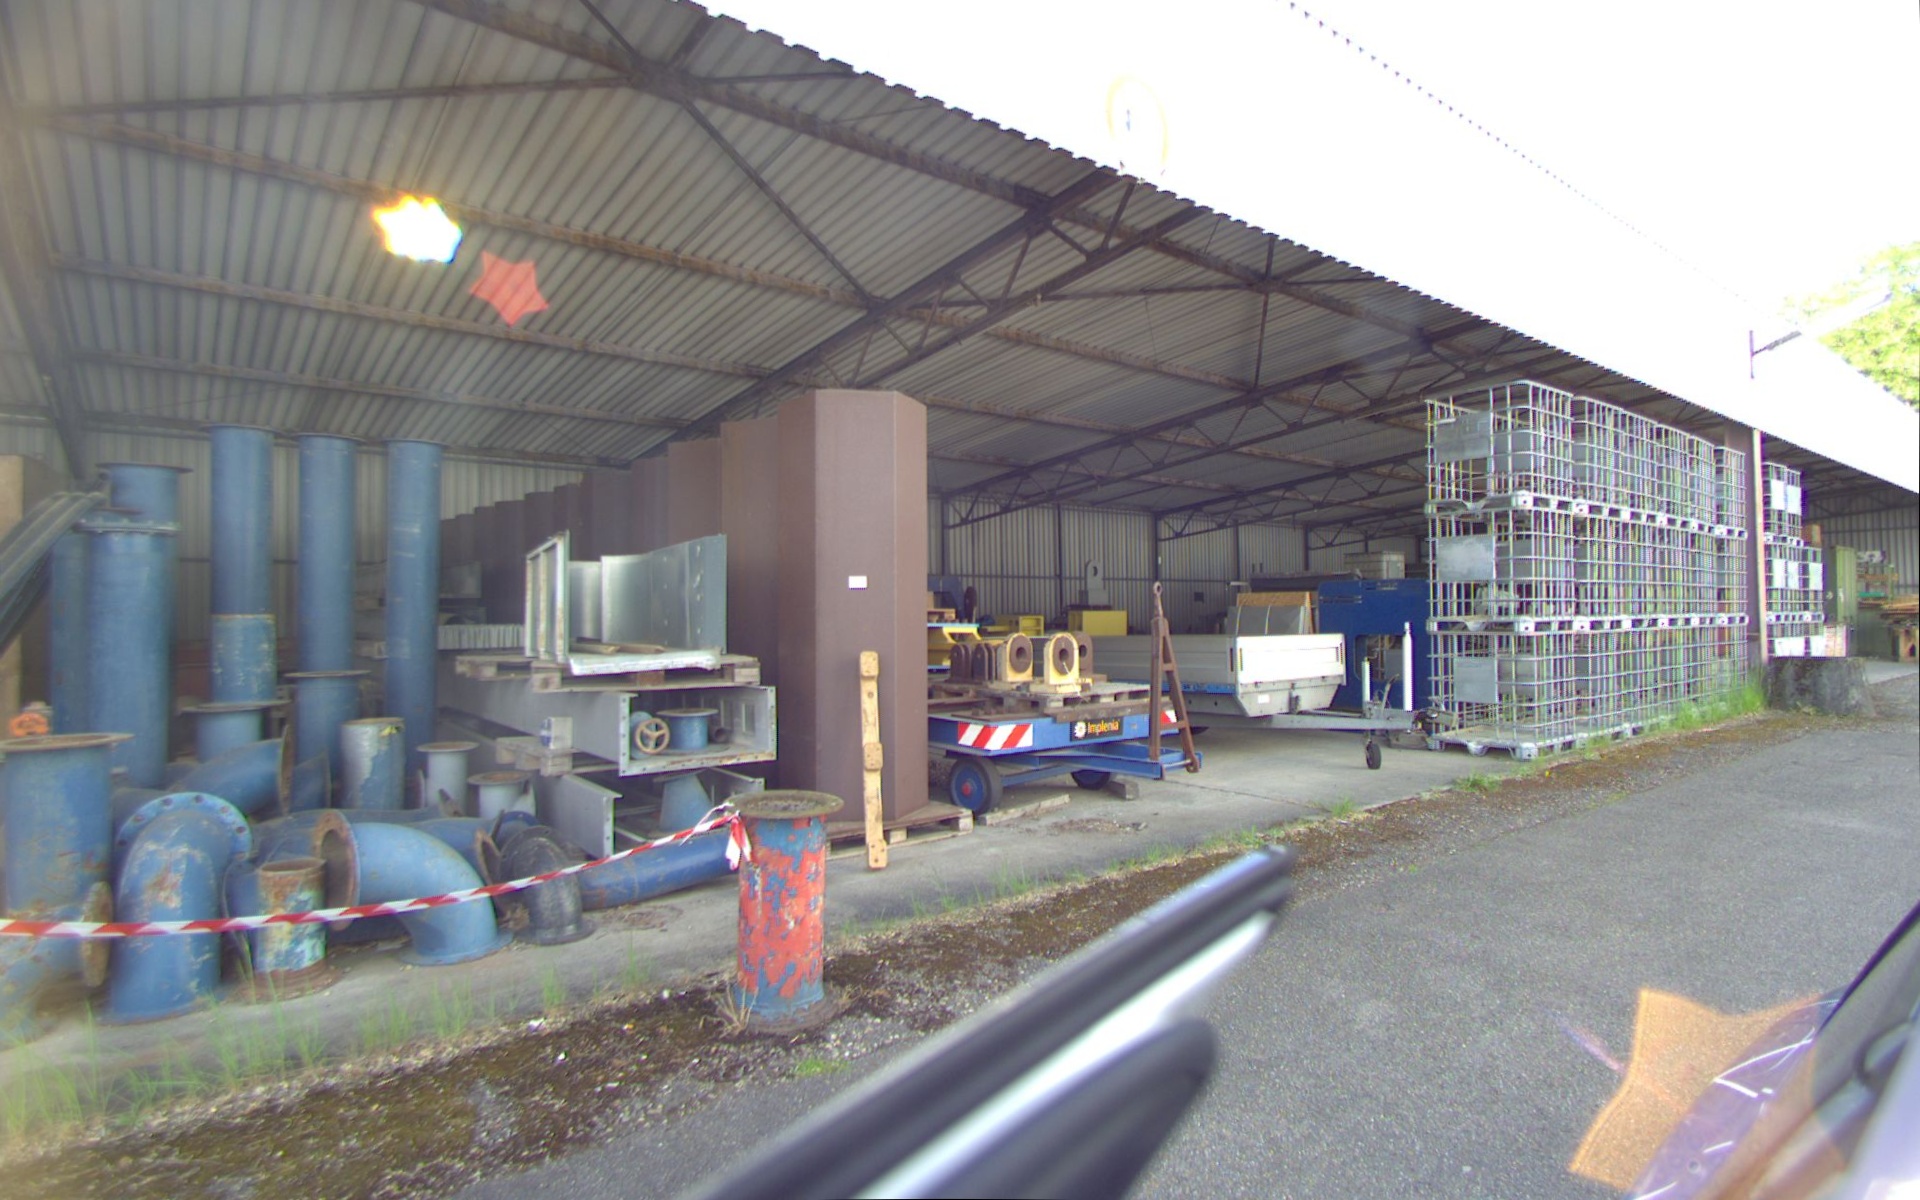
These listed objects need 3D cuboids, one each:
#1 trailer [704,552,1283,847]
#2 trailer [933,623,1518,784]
[{"bbox_3d":[-0.093,0.575,8.202,1.993,1.649,4.877,0,-1,-39],"label":"trailer"},{"bbox_3d":[2.284,0.841,10.493,1.993,1.134,5.834,0,-1,-39],"label":"trailer"}]
